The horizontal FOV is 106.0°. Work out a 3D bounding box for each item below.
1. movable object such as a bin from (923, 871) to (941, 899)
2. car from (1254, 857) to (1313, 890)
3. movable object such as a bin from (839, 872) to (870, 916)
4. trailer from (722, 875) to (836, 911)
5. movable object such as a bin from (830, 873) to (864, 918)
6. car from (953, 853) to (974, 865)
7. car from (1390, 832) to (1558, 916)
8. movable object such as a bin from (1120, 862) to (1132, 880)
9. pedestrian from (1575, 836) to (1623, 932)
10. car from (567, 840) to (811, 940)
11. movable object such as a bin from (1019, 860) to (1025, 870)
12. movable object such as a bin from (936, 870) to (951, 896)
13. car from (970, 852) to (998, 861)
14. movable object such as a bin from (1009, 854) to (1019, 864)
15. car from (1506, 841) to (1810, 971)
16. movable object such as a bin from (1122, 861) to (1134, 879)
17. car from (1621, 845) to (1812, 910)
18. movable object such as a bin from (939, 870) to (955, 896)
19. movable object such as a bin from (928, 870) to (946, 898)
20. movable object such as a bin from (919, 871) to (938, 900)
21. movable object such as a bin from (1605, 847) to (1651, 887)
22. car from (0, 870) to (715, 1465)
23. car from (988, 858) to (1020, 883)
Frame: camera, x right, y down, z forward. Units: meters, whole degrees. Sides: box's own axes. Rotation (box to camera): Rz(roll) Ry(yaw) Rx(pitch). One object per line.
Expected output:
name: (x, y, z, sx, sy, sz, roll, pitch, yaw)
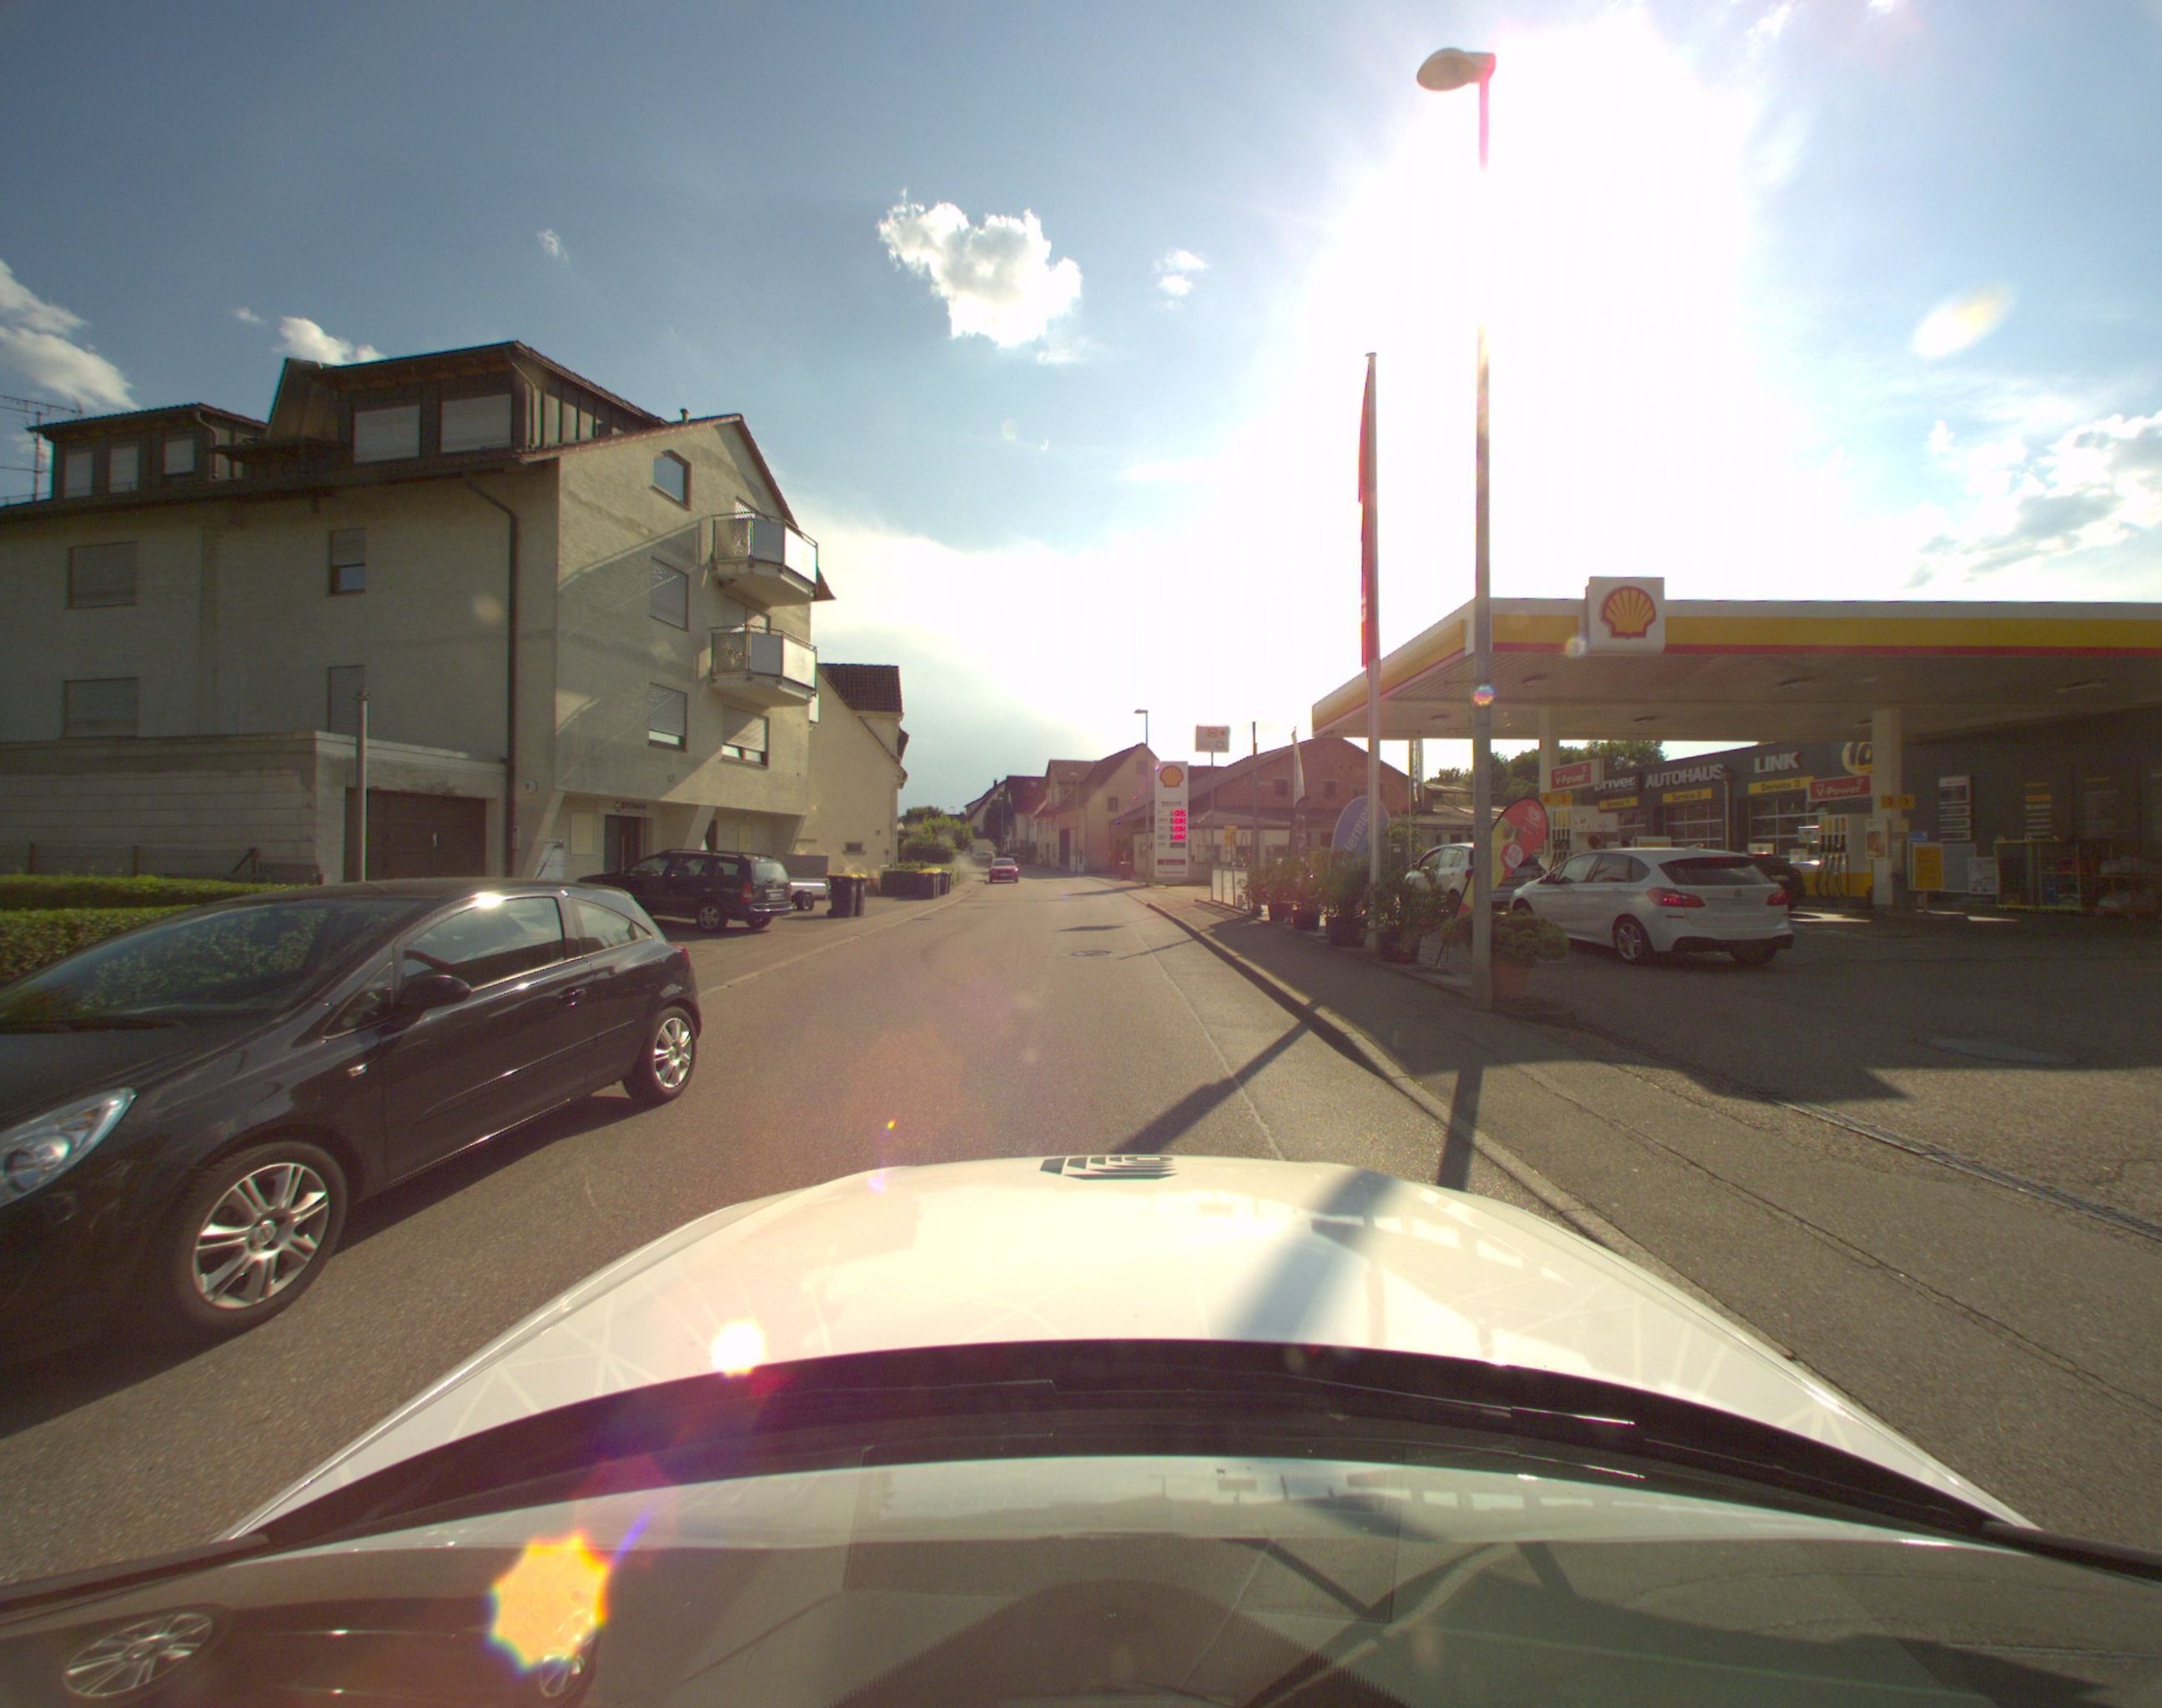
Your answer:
movable object such as a bin: (-5.874, 1.213, 32.216, 0.586, 1.084, 0.529, -2, -1, -1)
car: (9.381, 0.868, 38.039, 1.573, 1.427, 4.379, 1, 0, -1)
movable object such as a bin: (-5.792, 1.016, 20.826, 0.568, 1.071, 0.557, 3, -1, 0)
trailer: (-8.043, 1.055, 21.894, 1.319, 0.855, 2.903, 2, -2, 17)
movable object such as a bin: (-5.809, 1.022, 20.254, 0.598, 1.071, 0.619, 3, -1, 0)
car: (-15.605, 0.712, 108.150, 1.713, 1.578, 3.968, 0, 0, -24)
car: (8.197, 0.375, 17.414, 1.666, 1.577, 3.998, 0, 0, 0)
movable object such as a bin: (2.713, 1.006, 49.167, 0.651, 1.073, 0.512, 0, -1, -3)
pedestrian: (9.087, 0.520, 14.301, 0.499, 1.670, 0.534, 0, -1, 0)
car: (-7.657, 0.649, 16.040, 3.961, 1.538, 1.768, 4, 0, 12)
movable object such as a bin: (-6.355, 1.151, 87.677, 0.654, 1.073, 0.510, 0, -1, -16)
movable object such as a bin: (-5.645, 1.197, 33.411, 0.530, 1.022, 0.457, -2, -1, -1)
car: (-14.119, 0.342, 117.968, 3.985, 1.352, 1.705, 0, 0, -9)
movable object such as a bin: (-7.983, 0.590, 97.422, 1.161, 1.168, 0.652, 0, -1, -12)
car: (8.134, 0.637, 11.999, 1.666, 1.577, 3.998, 0, 0, 0)
movable object such as a bin: (2.791, 0.976, 48.613, 0.651, 1.073, 0.512, 0, -1, -3)
car: (15.260, 0.583, 19.852, 1.532, 1.400, 3.997, 0, -2, 0)
movable object such as a bin: (-5.573, 1.207, 33.899, 0.530, 1.022, 0.457, -2, -1, -1)
movable object such as a bin: (-5.822, 1.207, 32.846, 0.586, 1.122, 0.617, -2, -1, -1)
movable object such as a bin: (-5.911, 1.214, 31.579, 0.586, 1.084, 0.508, -2, -1, -1)
movable object such as a bin: (21.635, 0.505, 32.222, 0.985, 1.530, 1.209, 0, 0, -1)
car: (-3.492, 0.831, 3.876, 1.666, 1.451, 3.835, -1, -1, 2)
car: (-4.666, 0.971, 48.784, 1.708, 1.435, 3.769, -1, -1, -8)
